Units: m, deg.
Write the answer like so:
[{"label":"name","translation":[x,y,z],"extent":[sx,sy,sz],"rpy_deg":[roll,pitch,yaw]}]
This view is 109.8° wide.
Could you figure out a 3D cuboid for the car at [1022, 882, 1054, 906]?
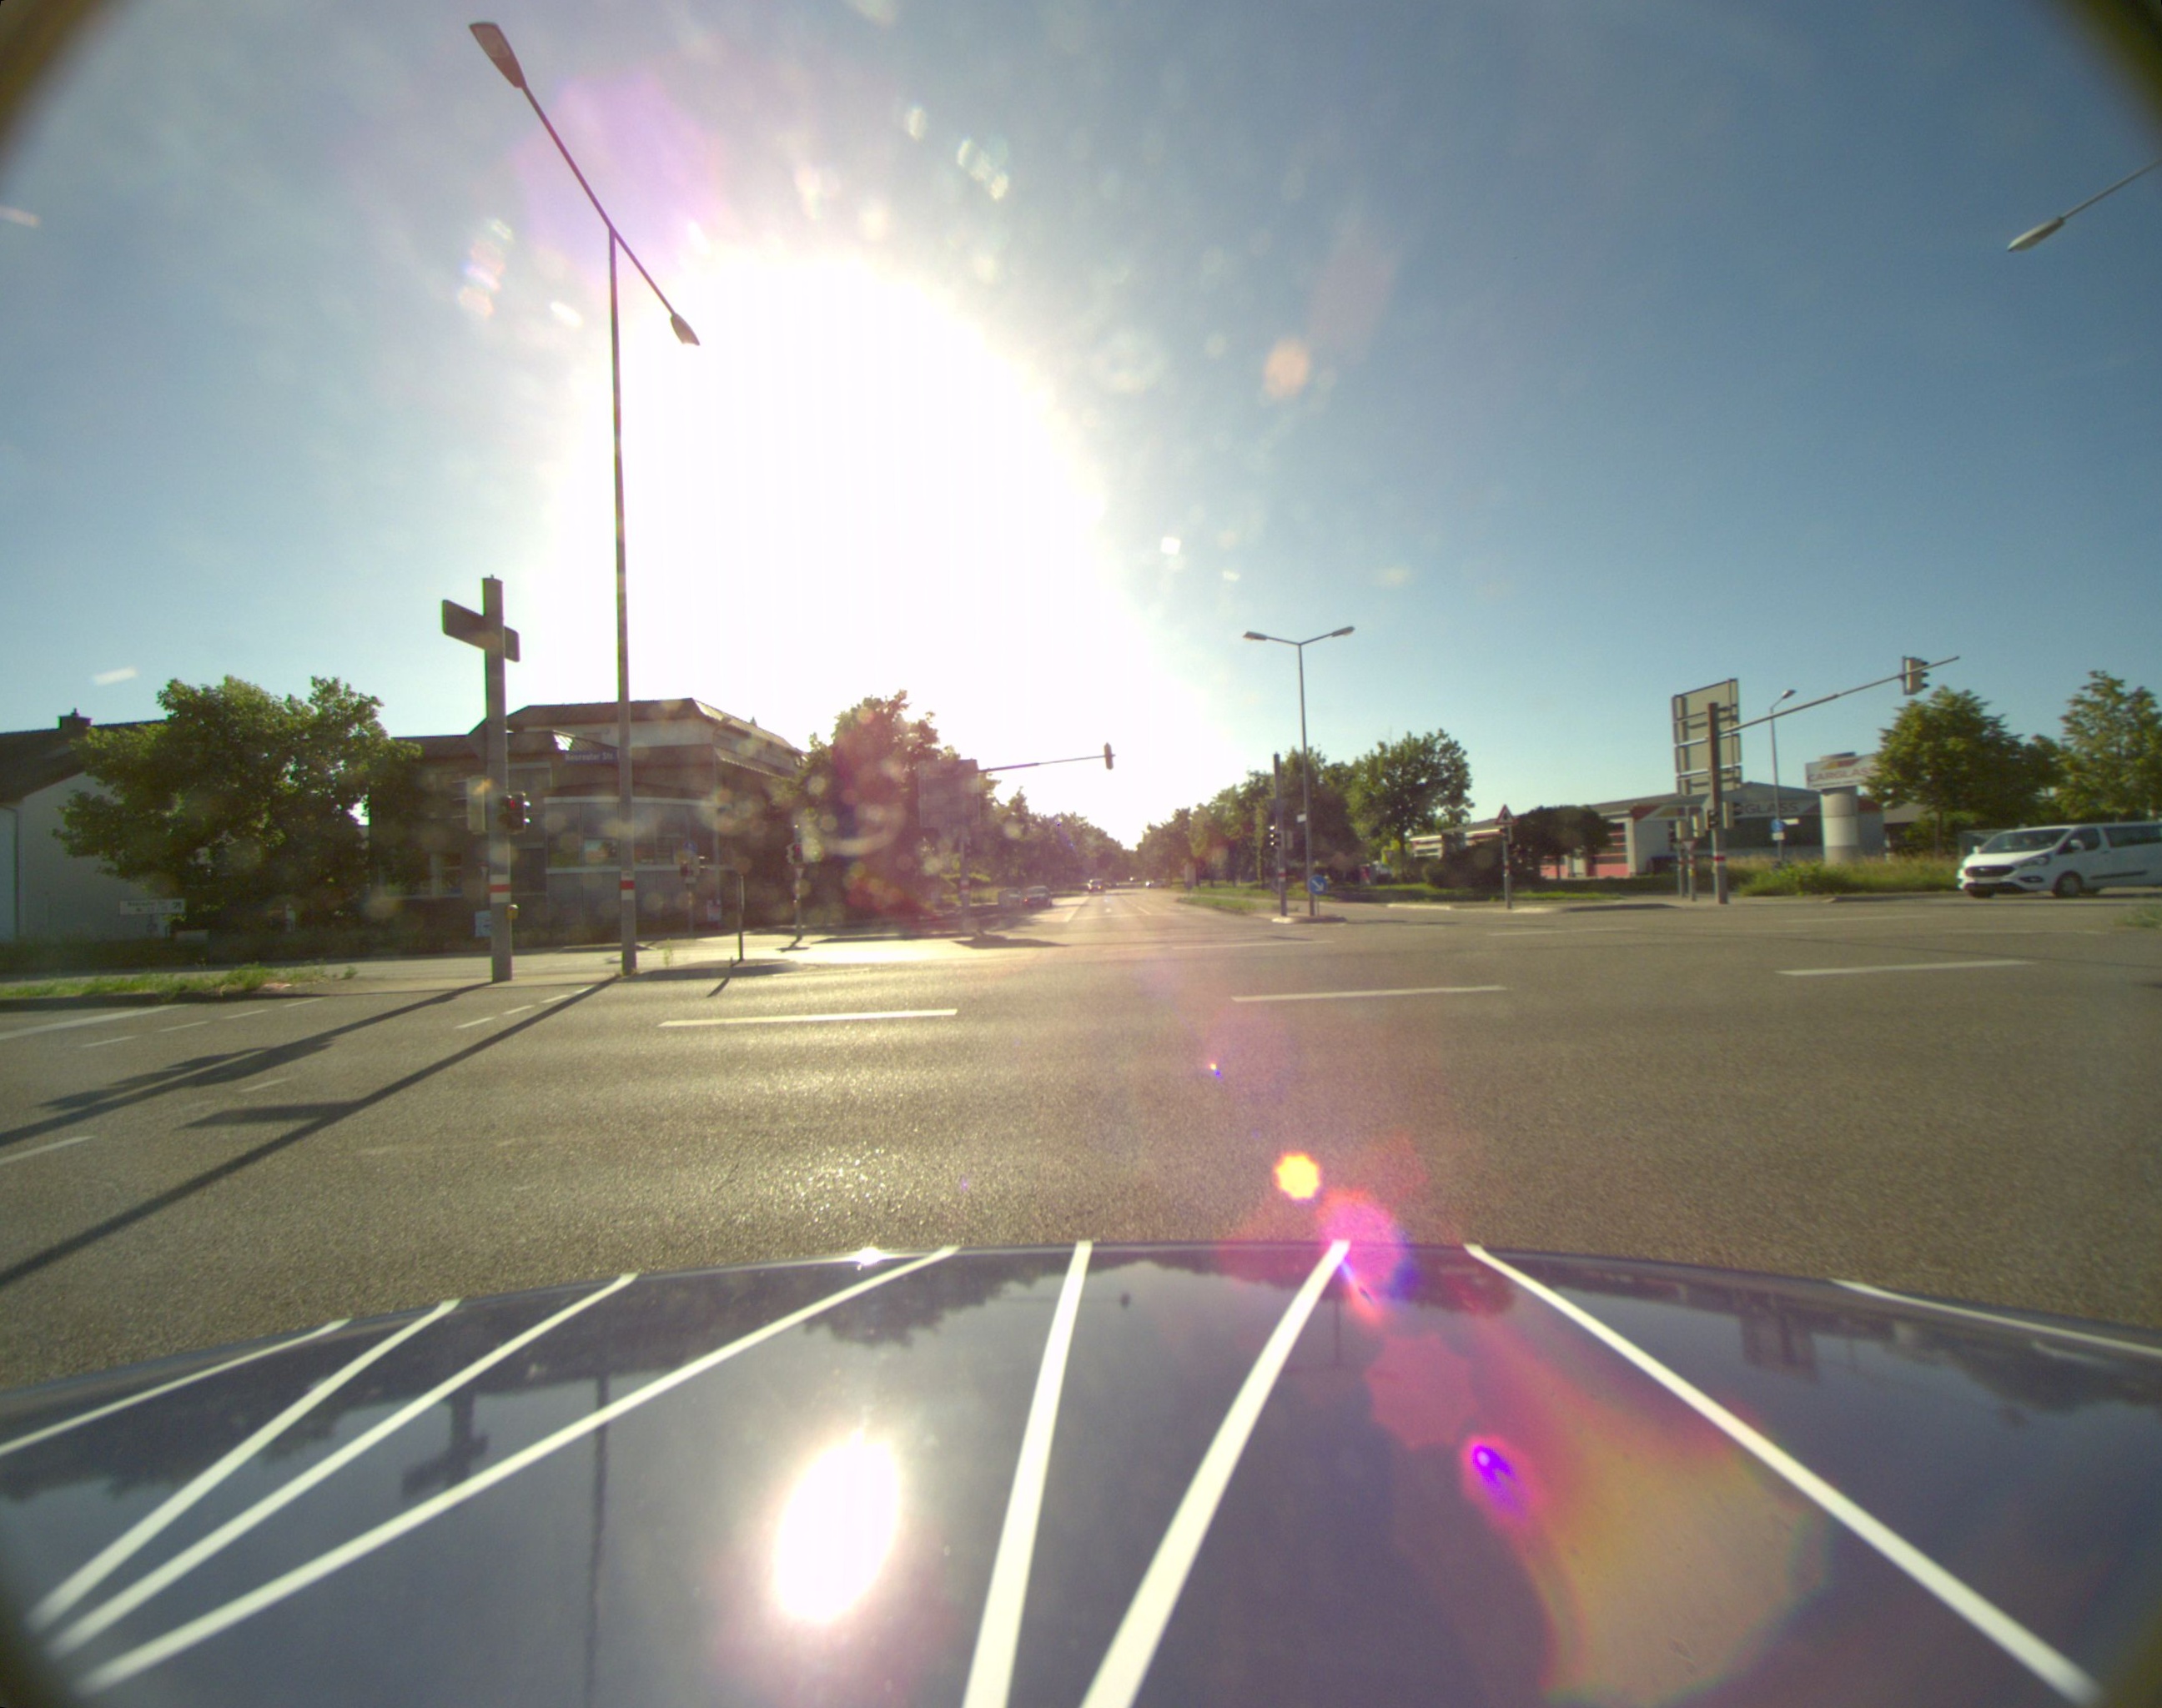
[{"label":"car","translation":[-2.966,2.733,52.978],"extent":[1.776,1.477,3.782],"rpy_deg":[-3,-2,2]}]

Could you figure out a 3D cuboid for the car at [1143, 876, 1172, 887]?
[{"label":"car","translation":[12.197,4.392,121.557],"extent":[4.489,1.695,2.002],"rpy_deg":[-2,-1,7]}]

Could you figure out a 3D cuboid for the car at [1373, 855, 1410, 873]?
[{"label":"car","translation":[42.037,1.373,102.951],"extent":[4.212,2.203,1.778],"rpy_deg":[-2,-2,-1]}]

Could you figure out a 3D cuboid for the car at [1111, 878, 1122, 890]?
[{"label":"car","translation":[6.505,5.508,139.479],"extent":[1.730,2.001,4.000],"rpy_deg":[-2,-1,-2]}]

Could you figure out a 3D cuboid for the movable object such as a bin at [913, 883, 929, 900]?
[{"label":"movable object such as a bin","translation":[-13.325,3.106,63.298],"extent":[1.089,1.314,0.797],"rpy_deg":[-3,-1,2]}]

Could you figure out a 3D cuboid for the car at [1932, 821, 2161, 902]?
[{"label":"car","translation":[27.269,0.216,21.034],"extent":[5.273,2.001,2.048],"rpy_deg":[-2,-3,-4]}]

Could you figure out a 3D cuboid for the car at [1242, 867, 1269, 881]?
[{"label":"car","translation":[28.127,3.195,122.392],"extent":[3.994,2.001,2.002],"rpy_deg":[-4,-2,10]}]

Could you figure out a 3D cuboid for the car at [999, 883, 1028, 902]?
[{"label":"car","translation":[-5.489,3.150,62.384],"extent":[1.776,1.477,4.217],"rpy_deg":[-1,-2,2]}]

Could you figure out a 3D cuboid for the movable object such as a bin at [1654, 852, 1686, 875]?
[{"label":"movable object such as a bin","translation":[35.558,0.587,45.869],"extent":[1.130,1.290,0.993],"rpy_deg":[-2,-1,2]}]

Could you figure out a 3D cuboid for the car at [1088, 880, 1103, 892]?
[{"label":"car","translation":[1.943,4.107,99.024],"extent":[1.776,1.477,4.217],"rpy_deg":[-1,-2,2]}]
